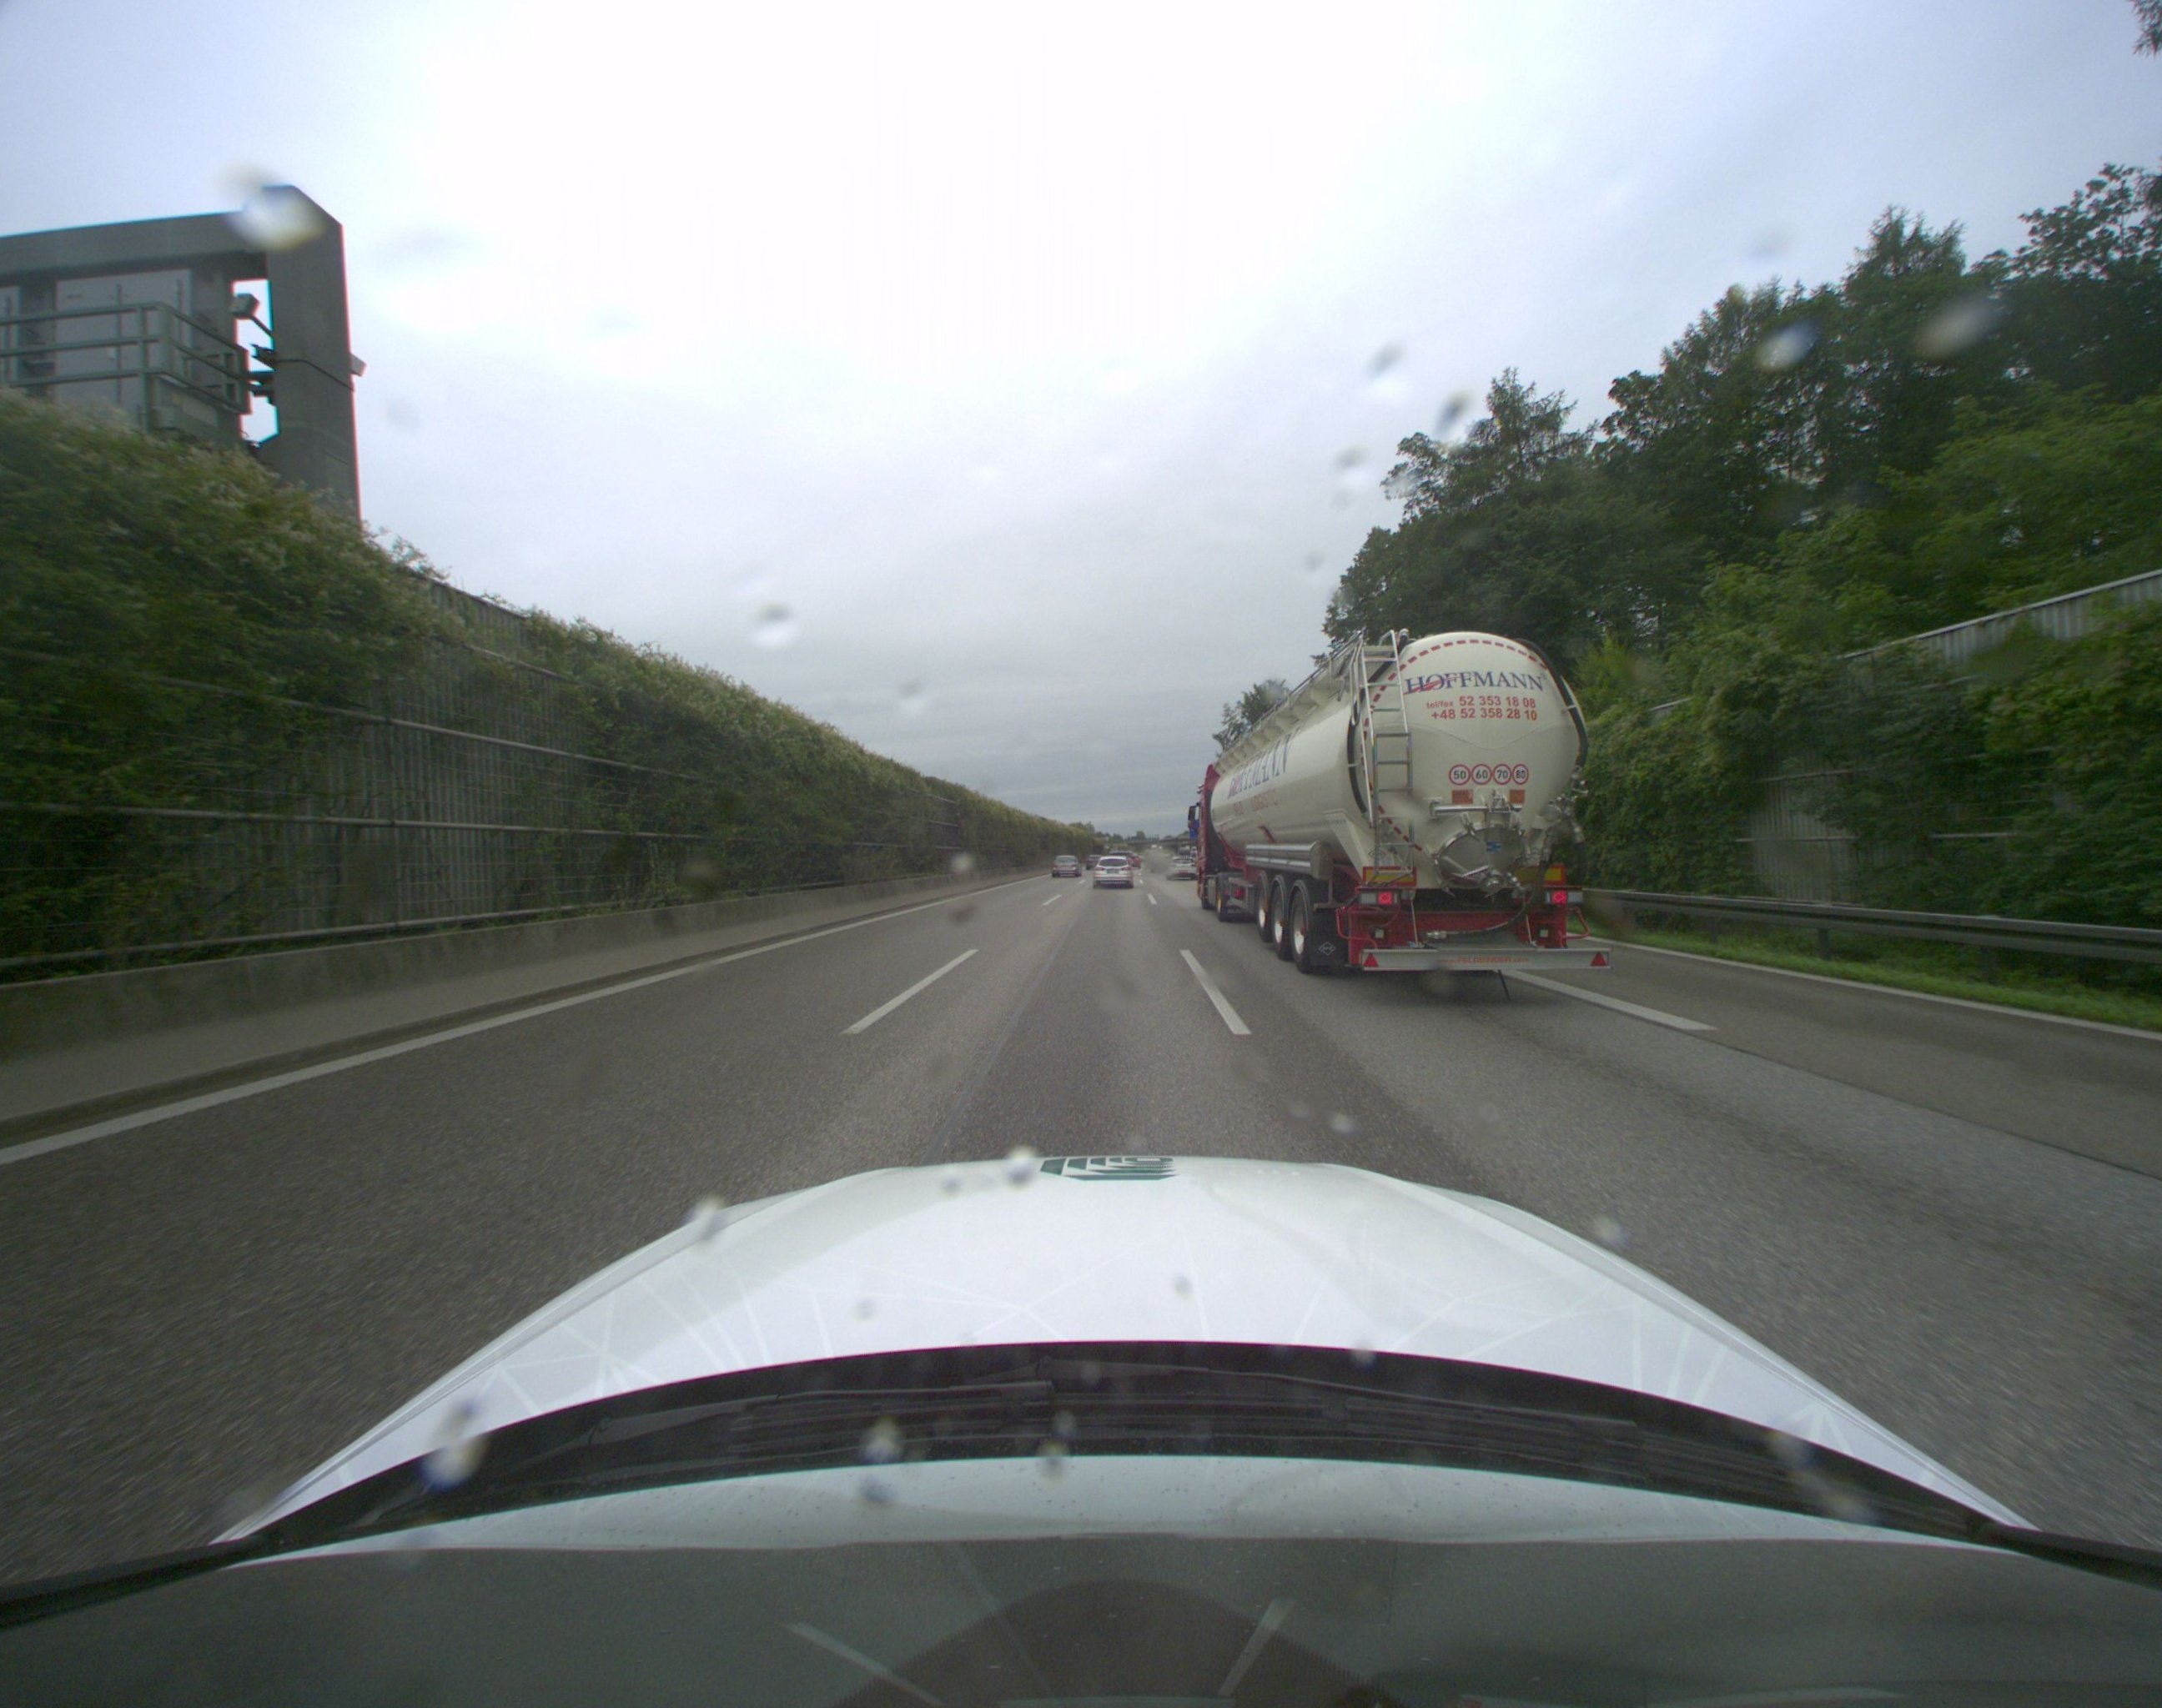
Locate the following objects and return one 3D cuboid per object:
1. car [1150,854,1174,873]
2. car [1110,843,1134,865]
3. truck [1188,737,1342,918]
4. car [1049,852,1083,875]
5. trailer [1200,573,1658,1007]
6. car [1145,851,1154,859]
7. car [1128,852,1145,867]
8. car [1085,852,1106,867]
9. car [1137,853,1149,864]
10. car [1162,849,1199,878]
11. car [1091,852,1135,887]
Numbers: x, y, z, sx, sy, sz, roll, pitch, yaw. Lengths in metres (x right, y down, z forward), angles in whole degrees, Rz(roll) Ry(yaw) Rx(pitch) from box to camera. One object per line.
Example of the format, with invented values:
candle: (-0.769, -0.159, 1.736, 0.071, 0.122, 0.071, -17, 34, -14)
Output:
car: (6.739, 0.796, 67.811, 1.682, 1.506, 3.873, -1, -1, 2)
car: (2.996, -0.016, 59.591, 1.682, 1.506, 3.874, 3, 1, 3)
truck: (4.449, -0.556, 21.108, 2.684, 3.912, 6.560, -1, -1, 2)
car: (-0.991, 0.670, 57.099, 1.711, 1.469, 5.039, -1, -1, 7)
trailer: (4.145, -0.531, 14.048, 2.658, 3.939, 13.136, -1, -1, 2)
car: (13.931, 0.152, 166.429, 1.681, 1.539, 3.876, -1, 0, 4)
car: (5.763, 0.560, 84.548, 1.682, 1.506, 3.875, -1, 0, 3)
car: (1.484, 0.546, 82.507, 1.711, 1.512, 5.038, -1, 0, 6)
car: (10.193, 0.701, 134.055, 1.781, 1.779, 3.877, -2, -1, 5)
car: (5.934, 0.560, 48.916, 1.809, 1.625, 5.033, -1, 0, 3)
car: (1.526, 0.683, 38.271, 1.884, 1.504, 5.033, 0, 0, 3)
